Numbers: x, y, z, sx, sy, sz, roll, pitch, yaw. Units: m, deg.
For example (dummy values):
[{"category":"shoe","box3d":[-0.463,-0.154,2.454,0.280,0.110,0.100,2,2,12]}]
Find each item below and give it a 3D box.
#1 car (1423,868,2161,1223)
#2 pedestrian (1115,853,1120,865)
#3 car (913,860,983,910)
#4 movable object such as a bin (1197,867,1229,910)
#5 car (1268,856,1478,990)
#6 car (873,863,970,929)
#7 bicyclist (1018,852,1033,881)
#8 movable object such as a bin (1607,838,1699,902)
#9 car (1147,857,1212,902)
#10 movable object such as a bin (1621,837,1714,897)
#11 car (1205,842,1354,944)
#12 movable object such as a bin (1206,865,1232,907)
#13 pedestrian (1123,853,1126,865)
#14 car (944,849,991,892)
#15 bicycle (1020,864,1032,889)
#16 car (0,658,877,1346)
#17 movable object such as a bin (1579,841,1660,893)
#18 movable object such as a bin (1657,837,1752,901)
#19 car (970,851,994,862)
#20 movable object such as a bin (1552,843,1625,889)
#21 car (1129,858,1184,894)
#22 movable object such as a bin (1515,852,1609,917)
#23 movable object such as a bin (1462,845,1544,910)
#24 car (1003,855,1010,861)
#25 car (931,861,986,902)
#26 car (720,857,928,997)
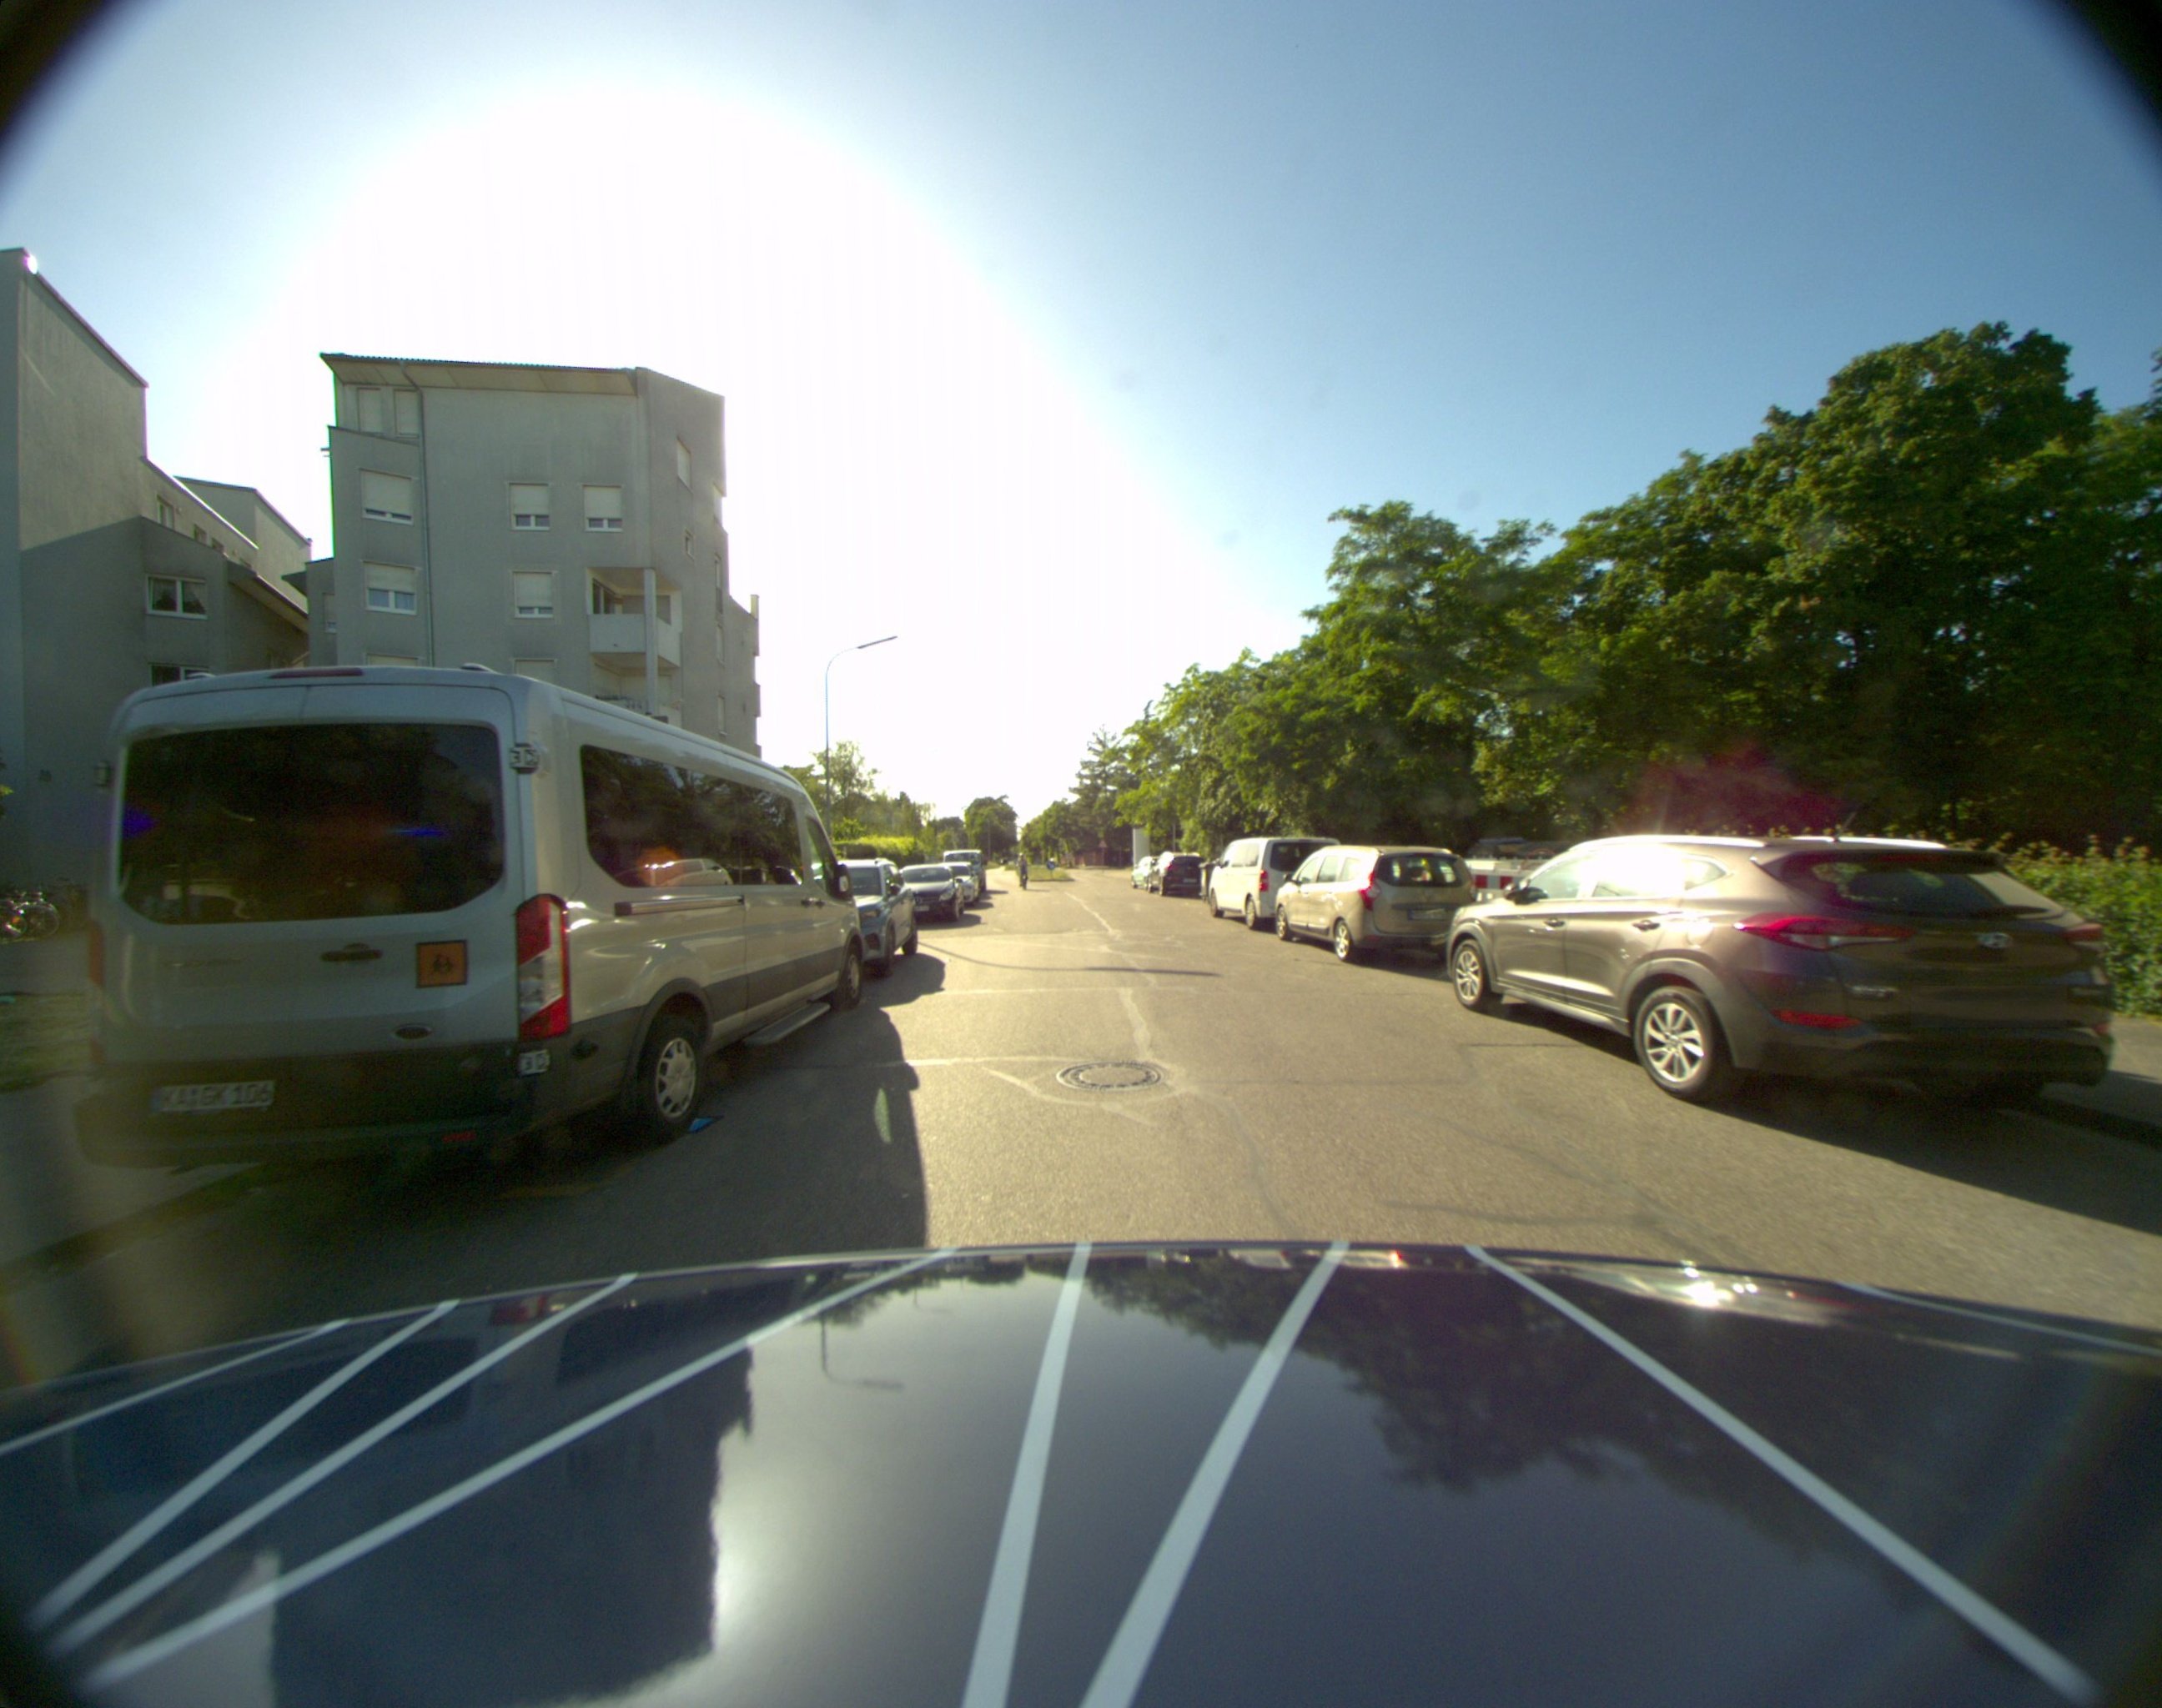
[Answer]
[{"category":"car","box3d":[4.419,0.962,5.814,1.752,1.608,4.363,-1,0,2]},{"category":"pedestrian","box3d":[4.680,0.665,97.502,0.539,1.511,0.395,-1,1,-30]},{"category":"car","box3d":[-4.432,0.975,25.926,1.915,1.480,4.373,-1,0,-4]},{"category":"movable object such as a bin","box3d":[4.208,1.092,24.309,0.805,1.308,1.321,-1,0,2]},{"category":"car","box3d":[4.316,0.900,12.007,1.560,1.712,4.340,-1,0,-1]},{"category":"car","box3d":[-4.077,1.014,20.137,1.915,1.480,4.373,-1,0,-4]},{"category":"bicyclist","box3d":[-2.678,0.591,36.371,0.638,1.339,0.838,-1,1,-8]},{"category":"movable object such as a bin","box3d":[13.795,0.374,18.382,1.261,1.480,1.279,-1,1,-2]},{"category":"car","box3d":[3.770,0.939,29.829,1.679,1.629,4.248,0,0,-5]},{"category":"movable object such as a bin","box3d":[15.390,0.325,19.979,1.279,1.480,1.509,-1,1,0]},{"category":"car","box3d":[4.218,0.749,17.015,1.869,1.949,4.669,-1,0,-3]},{"category":"movable object such as a bin","box3d":[4.621,1.069,25.564,0.610,1.332,1.269,-1,1,-1]},{"category":"pedestrian","box3d":[5.593,0.637,97.370,0.396,1.552,0.538,0,1,-3]},{"category":"car","box3d":[-5.366,0.732,36.484,1.999,1.901,4.950,-1,0,-6]},{"category":"bicycle","box3d":[-2.628,1.048,36.258,0.458,1.138,1.896,0,0,-8]},{"category":"car","box3d":[-3.380,0.540,5.733,2.110,2.472,5.854,-2,0,-1]},{"category":"movable object such as a bin","box3d":[15.301,0.352,21.640,1.278,1.400,1.510,-1,1,3]},{"category":"movable object such as a bin","box3d":[15.121,0.342,18.474,1.261,1.480,1.279,-1,1,-2]},{"category":"car","box3d":[-16.513,0.366,126.621,3.658,1.707,1.744,-1,1,-42]},{"category":"movable object such as a bin","box3d":[15.484,0.352,23.247,1.278,1.347,1.510,-1,1,3]},{"category":"car","box3d":[3.420,0.977,35.120,1.631,1.518,3.416,-1,0,-10]},{"category":"movable object such as a bin","box3d":[10.811,0.659,17.130,1.279,1.393,1.261,-1,1,-6]},{"category":"movable object such as a bin","box3d":[10.505,0.570,18.973,1.262,1.542,1.279,-1,1,-9]},{"category":"car","box3d":[-21.392,1.135,218.502,1.999,1.805,3.998,-1,0,-5]},{"category":"car","box3d":[-4.886,1.041,30.770,2.000,1.409,4.920,-1,0,-7]},{"category":"car","box3d":[-3.591,0.898,11.519,1.915,1.657,4.373,-1,0,-4]}]
